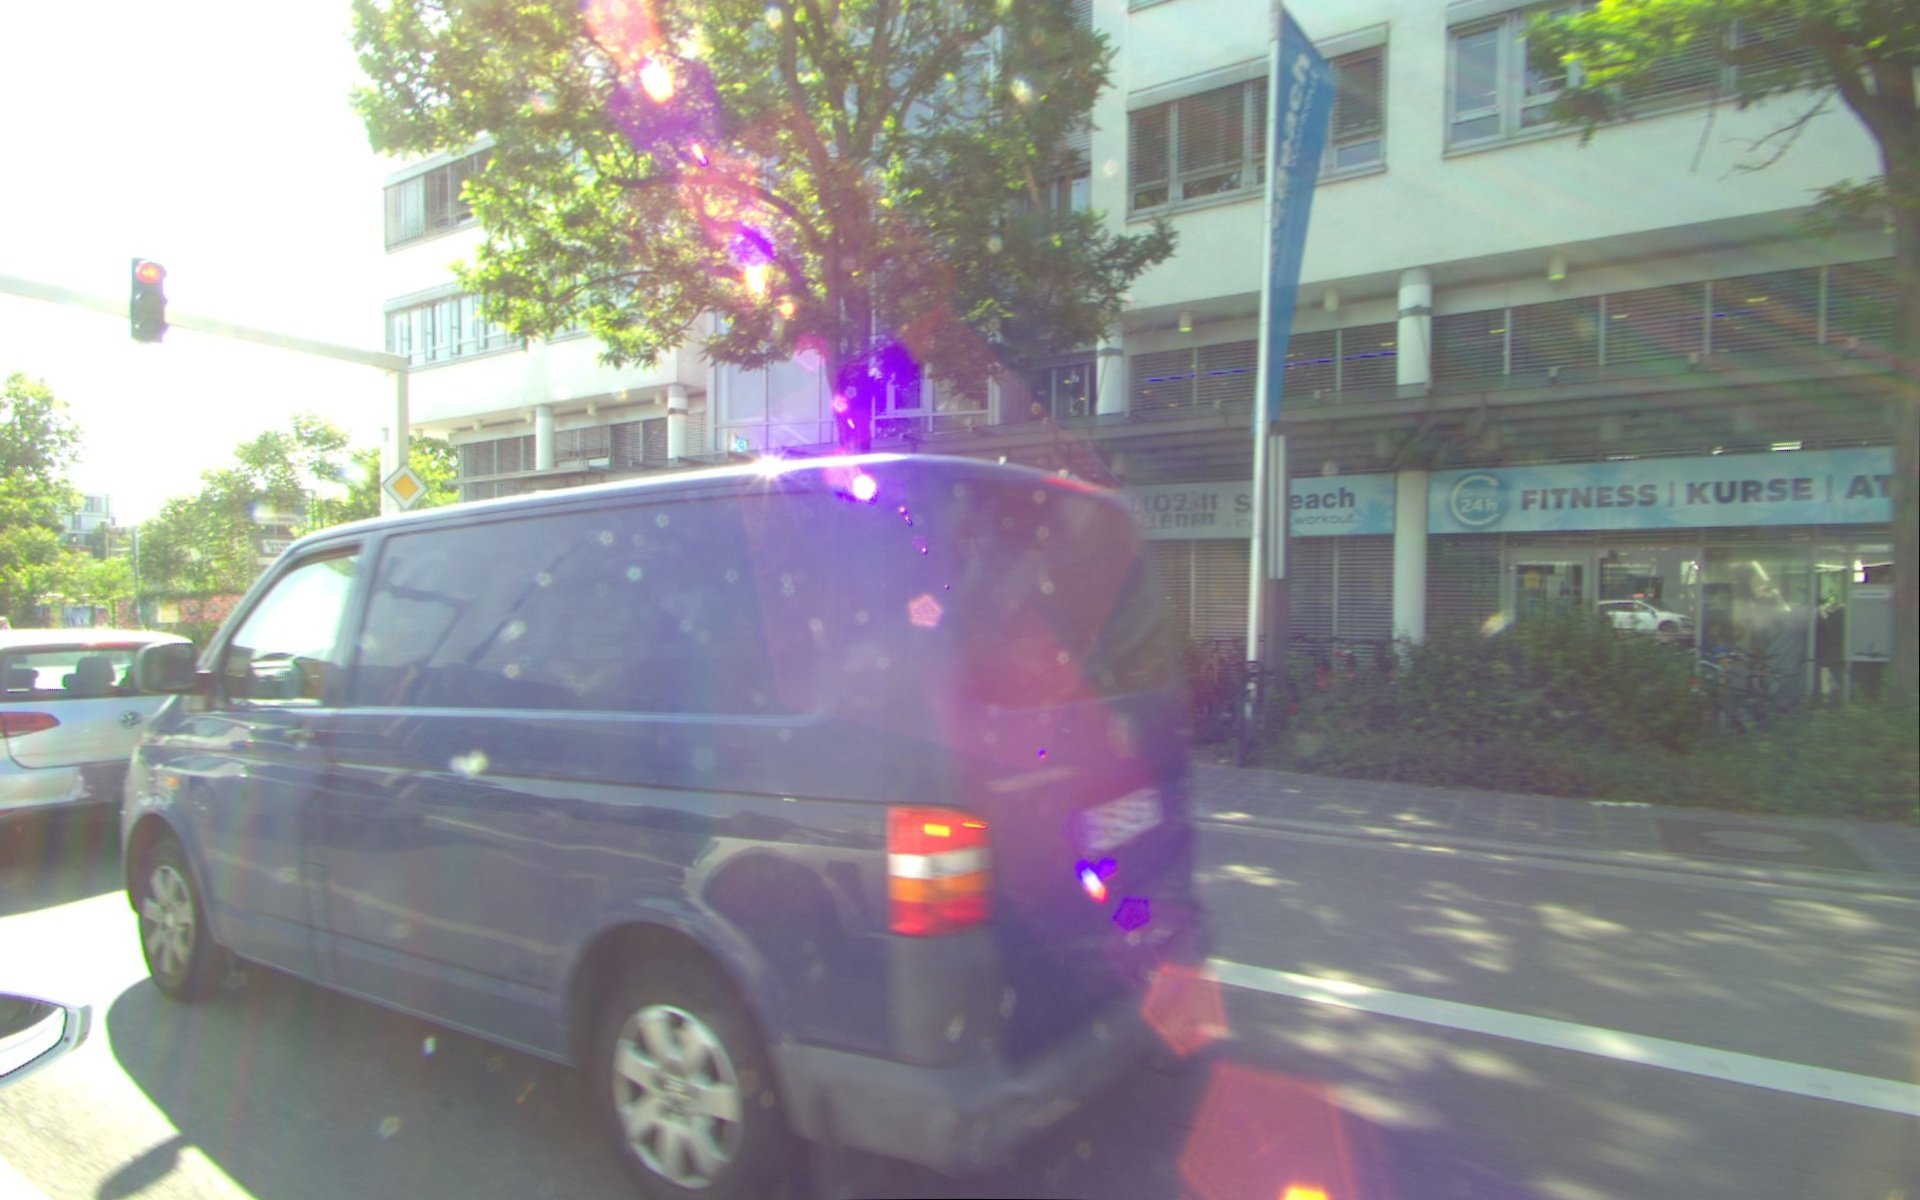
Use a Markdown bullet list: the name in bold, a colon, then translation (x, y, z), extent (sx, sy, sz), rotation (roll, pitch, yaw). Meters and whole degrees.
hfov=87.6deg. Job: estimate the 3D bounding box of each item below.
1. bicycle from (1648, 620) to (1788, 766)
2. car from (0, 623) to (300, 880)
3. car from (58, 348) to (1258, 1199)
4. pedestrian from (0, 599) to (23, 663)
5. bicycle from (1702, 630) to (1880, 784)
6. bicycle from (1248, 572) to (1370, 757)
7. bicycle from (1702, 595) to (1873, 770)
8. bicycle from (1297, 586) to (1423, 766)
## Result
- **bicycle**: translation (7.701, 0.891, 10.148), extent (1.858, 1.347, 0.503), rotation (0, 0, -32)
- **car**: translation (-6.845, 0.918, 7.337), extent (3.941, 1.448, 1.805), rotation (-1, -1, 31)
- **car**: translation (-1.490, 0.557, 4.056), extent (4.821, 1.973, 1.989), rotation (-1, 0, 32)
- **pedestrian**: translation (-31.291, 1.006, 32.530), extent (1.024, 2.040, 1.025), rotation (0, 0, 32)
- **bicycle**: translation (7.982, 0.983, 9.607), extent (1.853, 1.347, 0.505), rotation (0, 0, -22)
- **bicycle**: translation (3.713, 0.653, 10.625), extent (1.375, 1.870, 0.407), rotation (0, 1, -29)
- **bicycle**: translation (6.904, 0.637, 8.340), extent (1.665, 1.347, 0.504), rotation (0, 0, -28)
- **bicycle**: translation (4.068, 0.734, 10.165), extent (1.375, 1.744, 0.407), rotation (0, 0, -29)
